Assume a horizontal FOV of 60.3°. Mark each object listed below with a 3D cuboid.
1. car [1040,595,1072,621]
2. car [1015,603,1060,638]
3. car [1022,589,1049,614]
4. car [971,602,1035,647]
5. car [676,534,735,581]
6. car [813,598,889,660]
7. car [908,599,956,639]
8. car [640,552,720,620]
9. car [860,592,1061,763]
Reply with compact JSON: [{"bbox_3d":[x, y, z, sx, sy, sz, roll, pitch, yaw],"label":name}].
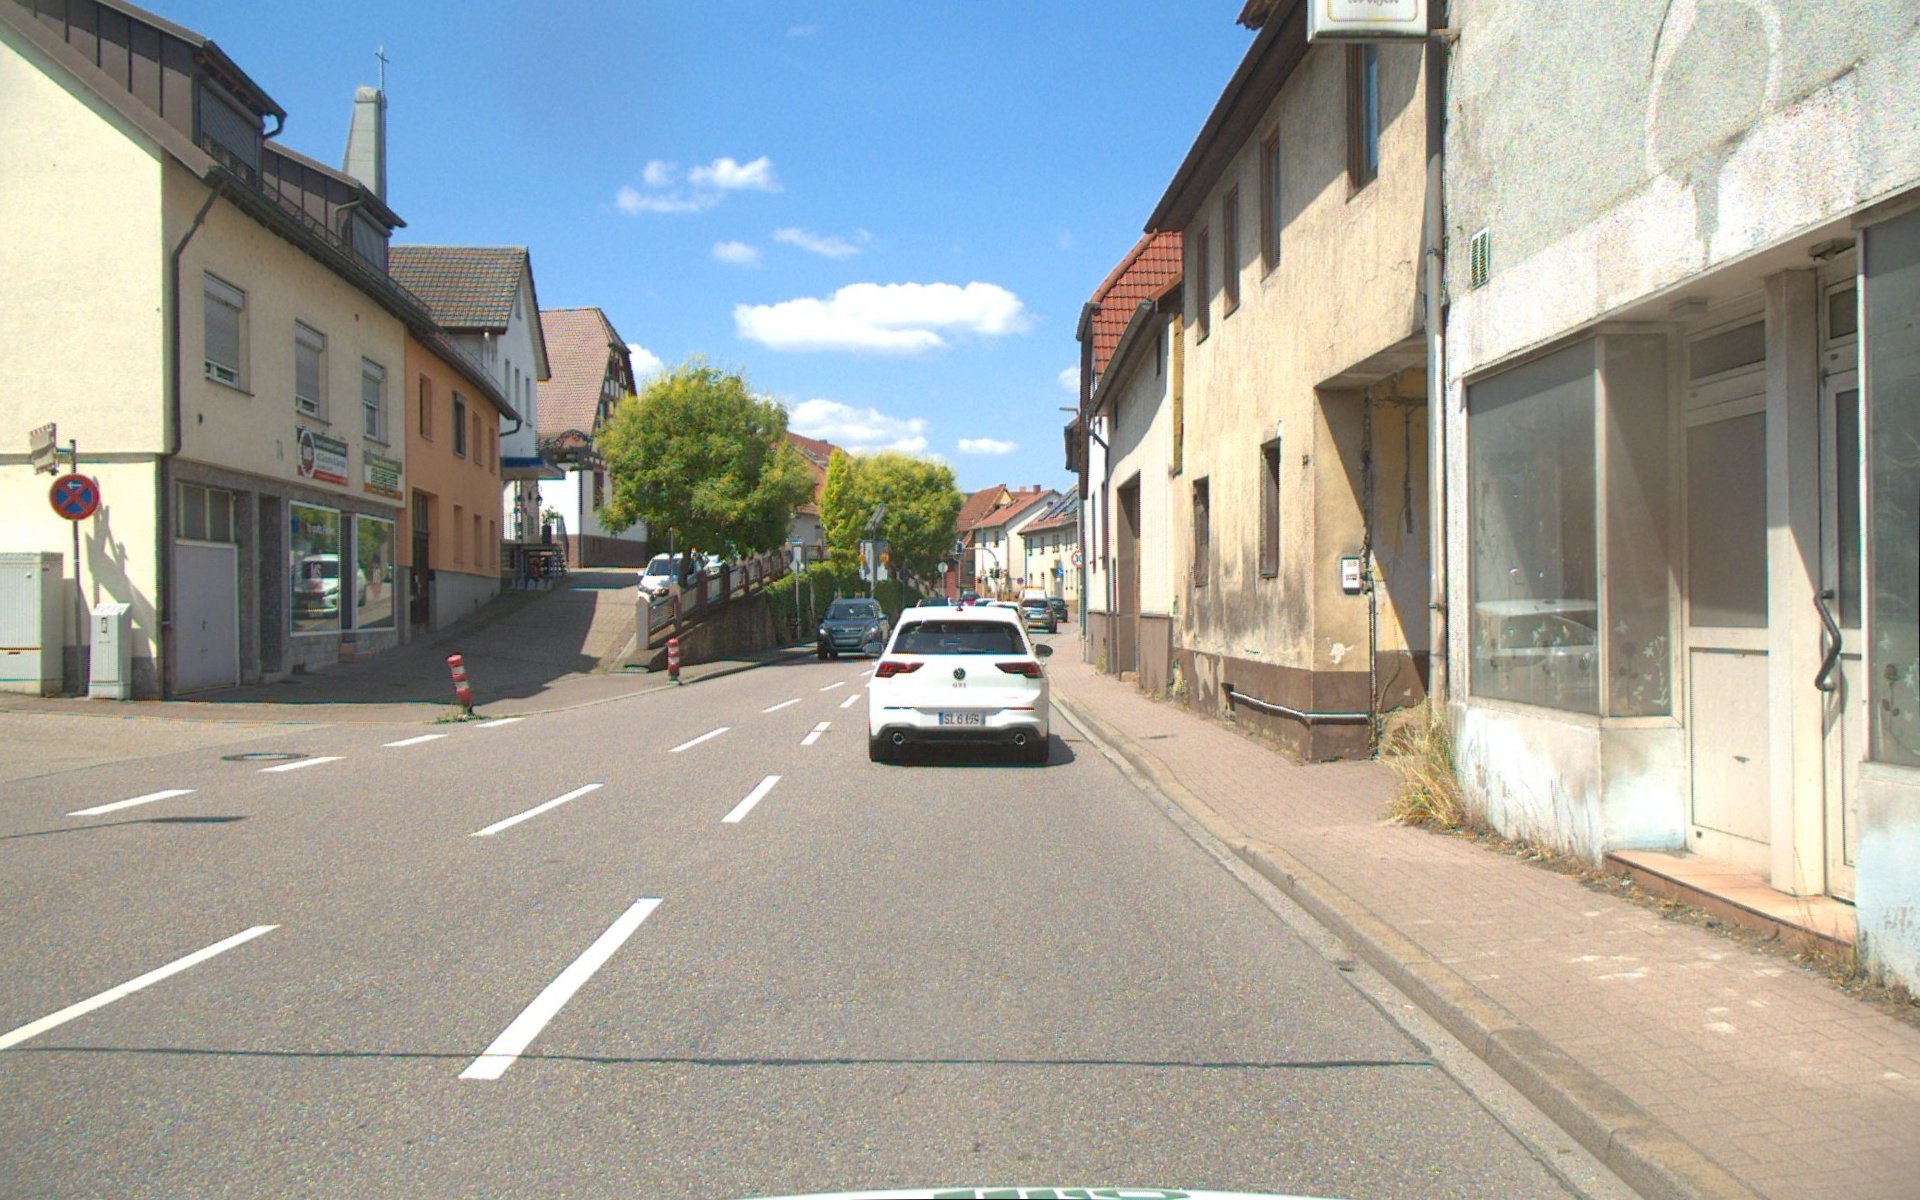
[{"bbox_3d":[5.873,0.472,101.555,1.739,1.565,4.000,0,0,0],"label":"car"},{"bbox_3d":[3.601,0.928,77.154,1.740,1.565,3.998,0,0,-2],"label":"car"},{"bbox_3d":[5.338,0.098,117.036,1.739,1.796,3.999,0,0,-1],"label":"car"},{"bbox_3d":[1.559,0.858,58.726,1.769,1.493,4.003,1,0,8],"label":"car"},{"bbox_3d":[-9.031,-1.552,58.871,1.544,1.385,3.857,0,6,-1],"label":"car"},{"bbox_3d":[-3.043,0.791,46.892,1.721,1.664,4.050,-1,0,2],"label":"car"},{"bbox_3d":[-1.159,0.787,70.666,1.804,1.608,4.446,-1,0,2],"label":"car"},{"bbox_3d":[-7.876,-0.440,46.805,1.659,1.569,3.857,0,6,-1],"label":"car"},{"bbox_3d":[0.039,0.705,16.866,1.770,1.493,4.000,1,0,1],"label":"car"}]
